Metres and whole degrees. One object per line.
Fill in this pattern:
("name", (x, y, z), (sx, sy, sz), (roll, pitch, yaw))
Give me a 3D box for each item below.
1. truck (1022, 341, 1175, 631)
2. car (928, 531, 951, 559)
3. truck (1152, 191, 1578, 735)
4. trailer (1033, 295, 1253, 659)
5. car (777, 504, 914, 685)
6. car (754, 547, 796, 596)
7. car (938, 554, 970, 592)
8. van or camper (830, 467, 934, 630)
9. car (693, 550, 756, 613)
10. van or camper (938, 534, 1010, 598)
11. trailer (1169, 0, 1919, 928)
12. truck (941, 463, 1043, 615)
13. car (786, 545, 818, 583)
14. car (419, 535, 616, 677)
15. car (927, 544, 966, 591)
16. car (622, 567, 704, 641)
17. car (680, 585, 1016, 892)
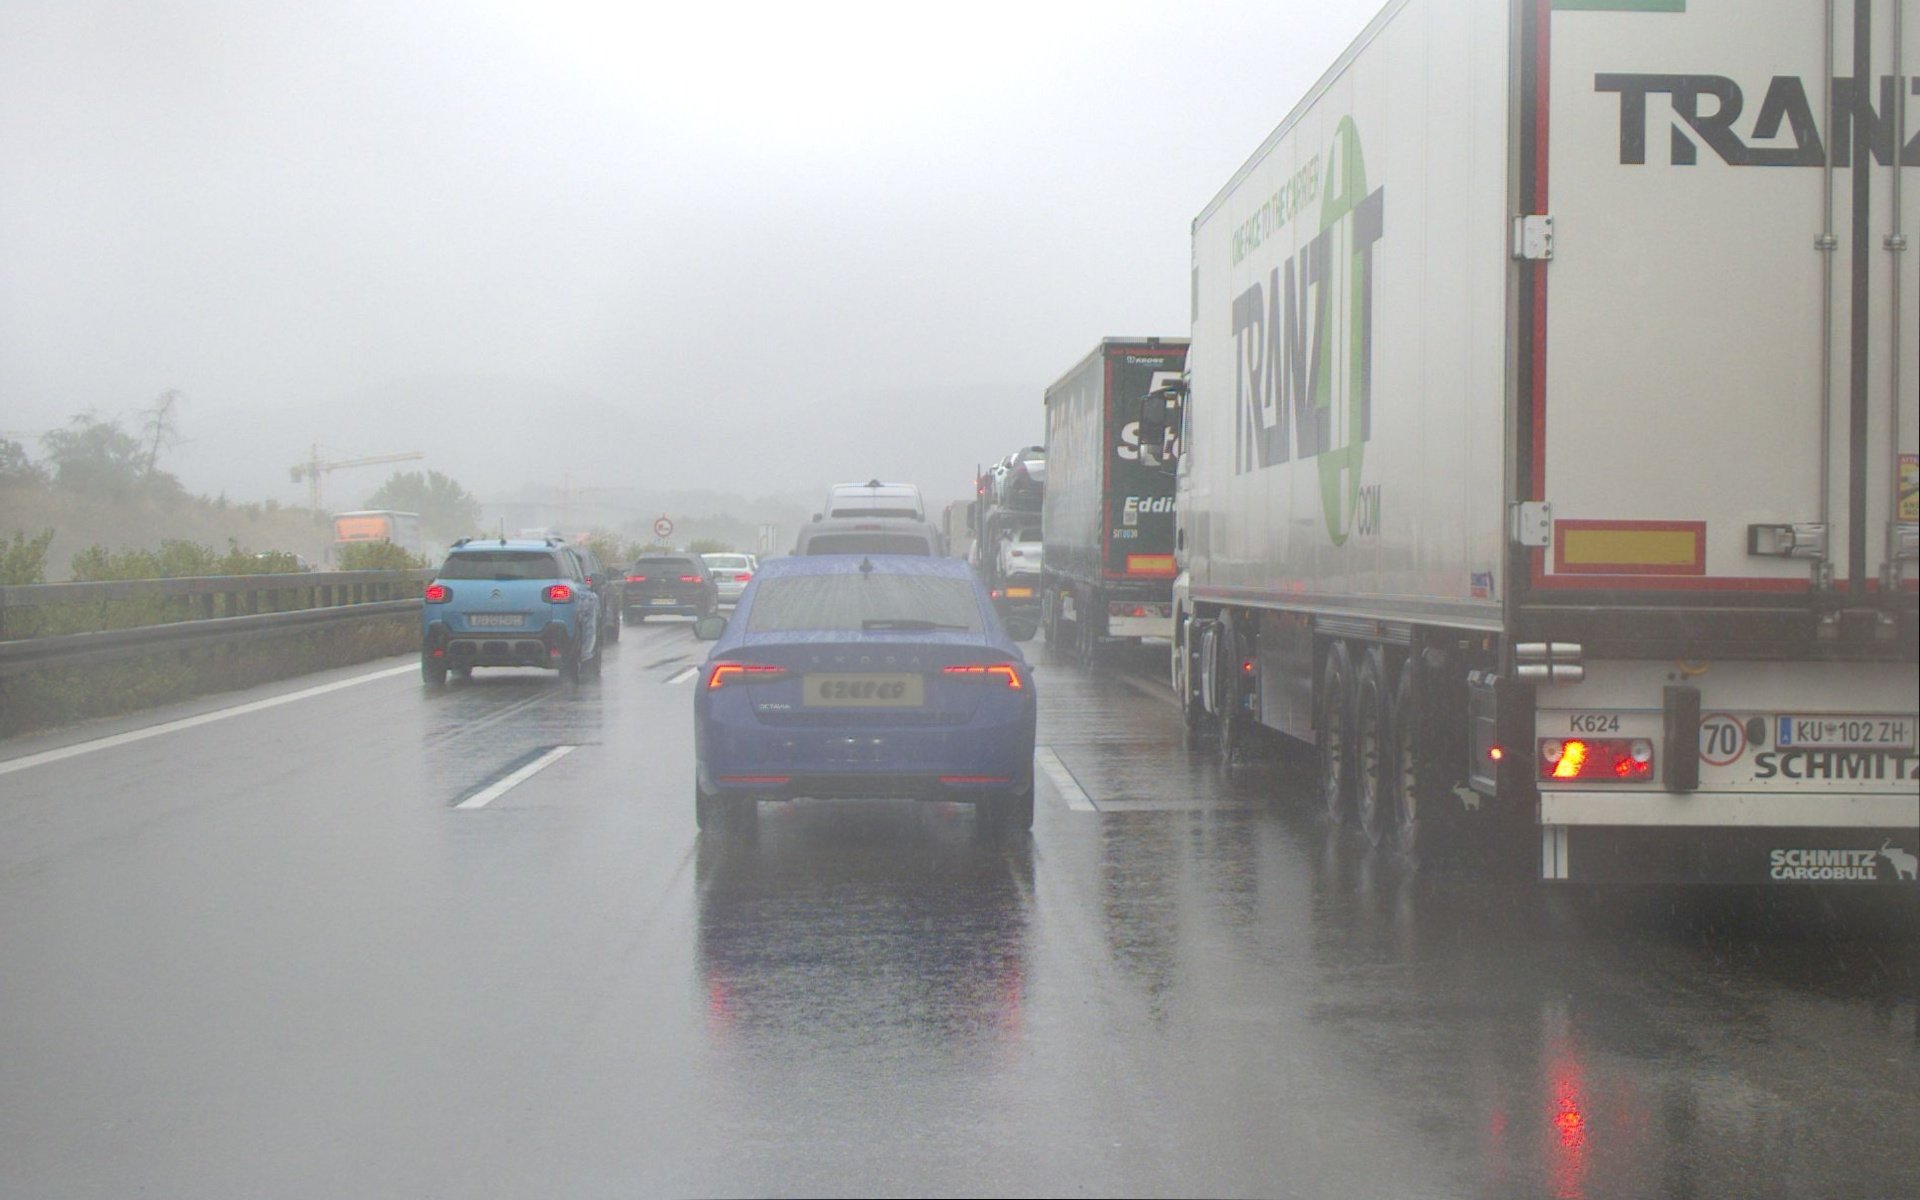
("truck", (2.029, -1.680, 51.568), (2.047, 4.178, 4.000), (0, 1, -1))
("car", (-1.329, -3.549, 223.609), (1.448, 1.777, 3.409), (1, 1, -1))
("truck", (2.980, -1.012, 26.565), (2.630, 3.814, 4.792), (0, 1, -1))
("trailer", (2.224, -1.528, 45.134), (2.047, 4.162, 11.449), (0, 1, -1))
("car", (-1.151, -0.087, 35.319), (1.336, 1.773, 3.322), (0, 1, -1))
("car", (-6.870, -1.079, 127.972), (1.448, 1.777, 3.409), (1, 1, -1))
("car", (-0.269, -1.146, 143.921), (1.248, 1.507, 3.108), (-1, 2, -1))
("van or camper", (-1.388, -0.936, 61.550), (1.797, 2.797, 4.768), (0, 1, -1))
("car", (-5.902, -0.470, 86.403), (1.439, 1.528, 3.322), (0, 1, -1))
("van or camper", (0.347, -0.925, 90.946), (1.771, 1.619, 4.484), (0, 2, -1))
("trailer", (3.113, -0.957, 19.874), (2.630, 3.999, 14.631), (0, 1, -1))
("truck", (0.694, -1.475, 81.066), (1.993, 3.410, 8.033), (0, 2, -2))
("car", (-7.600, -1.735, 165.885), (1.448, 1.777, 3.409), (1, 1, -1))
("car", (-4.934, 0.032, 38.768), (1.721, 1.518, 4.000), (0, 1, 0))
("car", (-0.529, -1.271, 132.511), (1.448, 1.777, 3.409), (1, 1, -1))
("car", (-6.027, 0.063, 70.028), (1.439, 1.415, 3.322), (0, 1, -1))
("car", (-0.557, 0.667, 18.725), (1.635, 1.440, 4.000), (0, 1, 0))
